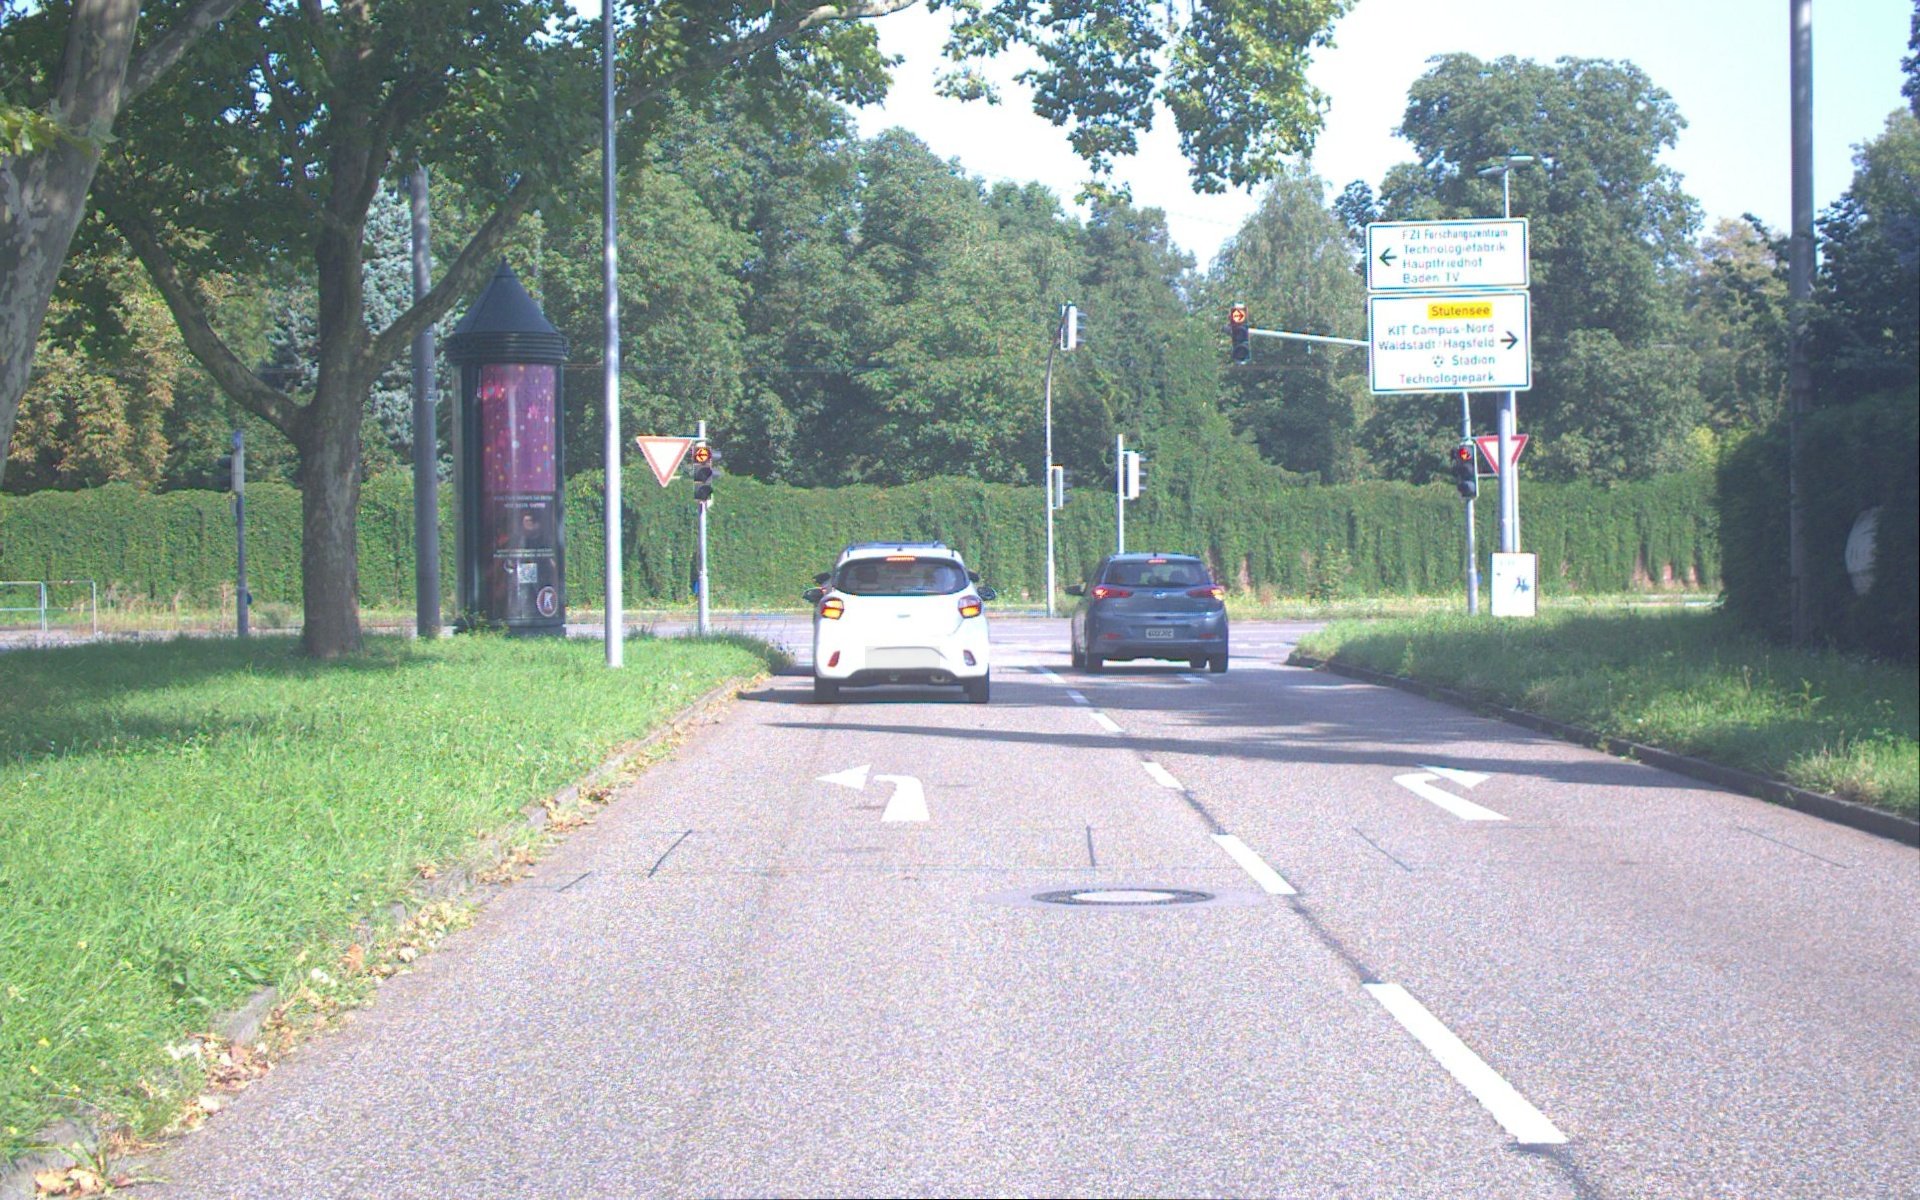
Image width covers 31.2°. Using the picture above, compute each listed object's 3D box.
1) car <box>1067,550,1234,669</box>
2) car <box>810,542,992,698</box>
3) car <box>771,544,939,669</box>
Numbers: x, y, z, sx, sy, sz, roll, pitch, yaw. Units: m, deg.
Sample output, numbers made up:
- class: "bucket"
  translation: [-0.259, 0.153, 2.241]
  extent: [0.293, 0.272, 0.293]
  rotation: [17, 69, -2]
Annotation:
- class: "car"
  translation: [2.313, 0.088, 42.621]
  extent: [1.797, 1.396, 4.000]
  rotation: [0, 1, -1]
- class: "car"
  translation: [-0.530, 0.159, 34.160]
  extent: [1.687, 1.457, 4.000]
  rotation: [0, 1, 1]
- class: "car"
  translation: [-1.238, 0.050, 42.010]
  extent: [1.687, 1.457, 3.849]
  rotation: [0, 1, 4]
